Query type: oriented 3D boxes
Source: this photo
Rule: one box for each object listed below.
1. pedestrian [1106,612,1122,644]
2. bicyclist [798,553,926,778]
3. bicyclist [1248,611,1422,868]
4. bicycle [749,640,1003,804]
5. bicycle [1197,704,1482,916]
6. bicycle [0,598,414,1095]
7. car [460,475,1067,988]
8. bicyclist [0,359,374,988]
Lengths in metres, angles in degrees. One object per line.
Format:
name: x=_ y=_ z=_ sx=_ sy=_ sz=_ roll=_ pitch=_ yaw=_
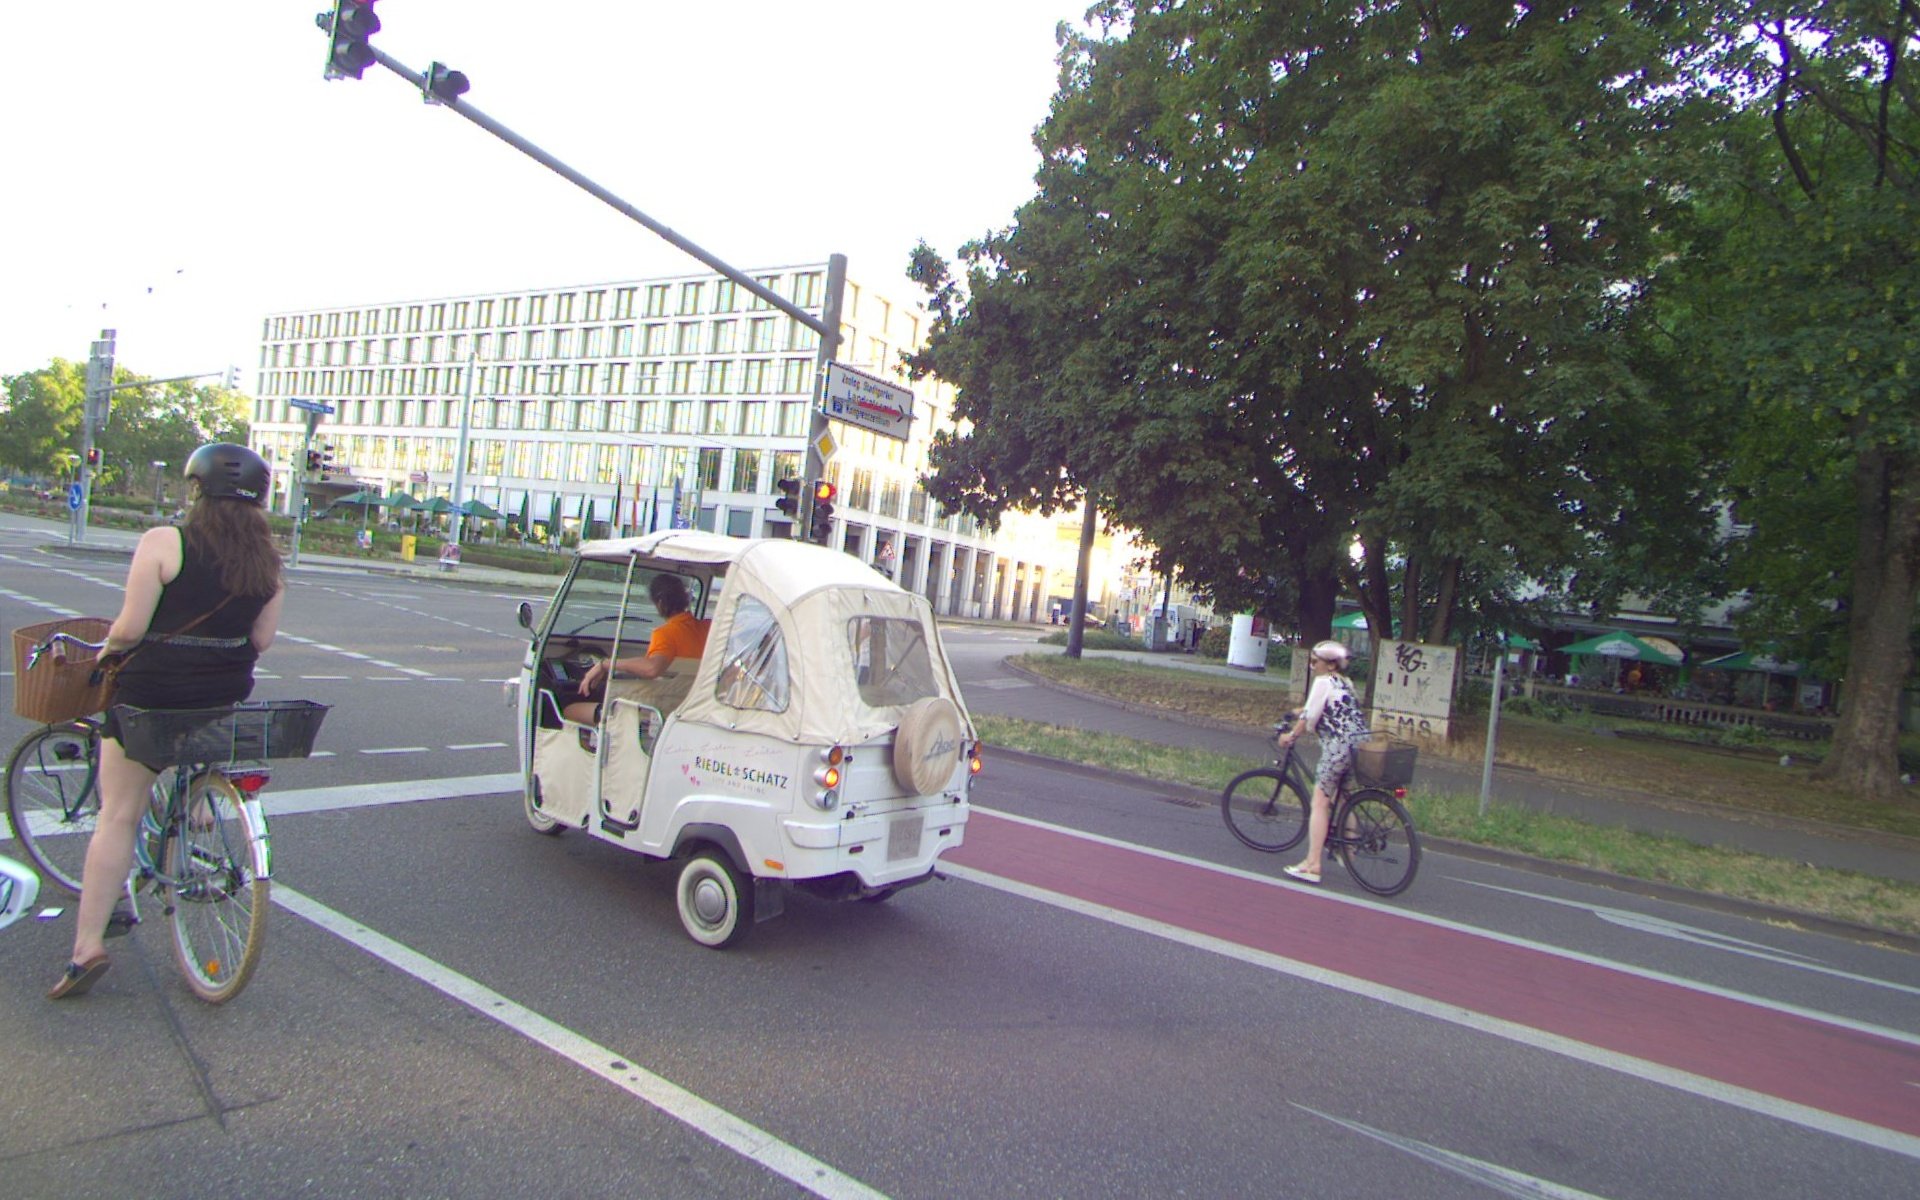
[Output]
pedestrian: x=8.317 y=1.517 z=54.390 sx=0.498 sy=1.646 sz=0.537 roll=7 pitch=2 yaw=32
bicyclist: x=-0.825 y=0.519 z=8.270 sx=0.737 sy=1.714 sz=0.762 roll=6 pitch=1 yaw=-18
bicyclist: x=2.709 y=0.988 z=7.324 sx=0.705 sy=1.714 sz=0.745 roll=6 pitch=1 yaw=-20
bicycle: x=-0.701 y=1.011 z=8.358 sx=1.876 sy=1.081 sz=0.728 roll=8 pitch=-1 yaw=-20
bicycle: x=2.660 y=1.449 z=7.359 sx=0.720 sy=1.082 sz=2.013 roll=7 pitch=-1 yaw=-20
bicycle: x=-2.765 y=0.644 z=3.367 sx=2.035 sy=1.082 sz=0.638 roll=7 pitch=0 yaw=32
car: x=-1.026 y=0.463 z=5.050 sx=2.523 sy=1.803 sz=1.460 roll=8 pitch=1 yaw=34
bicyclist: x=-2.452 y=0.188 z=3.185 sx=0.736 sy=1.714 sz=0.629 roll=7 pitch=1 yaw=31
